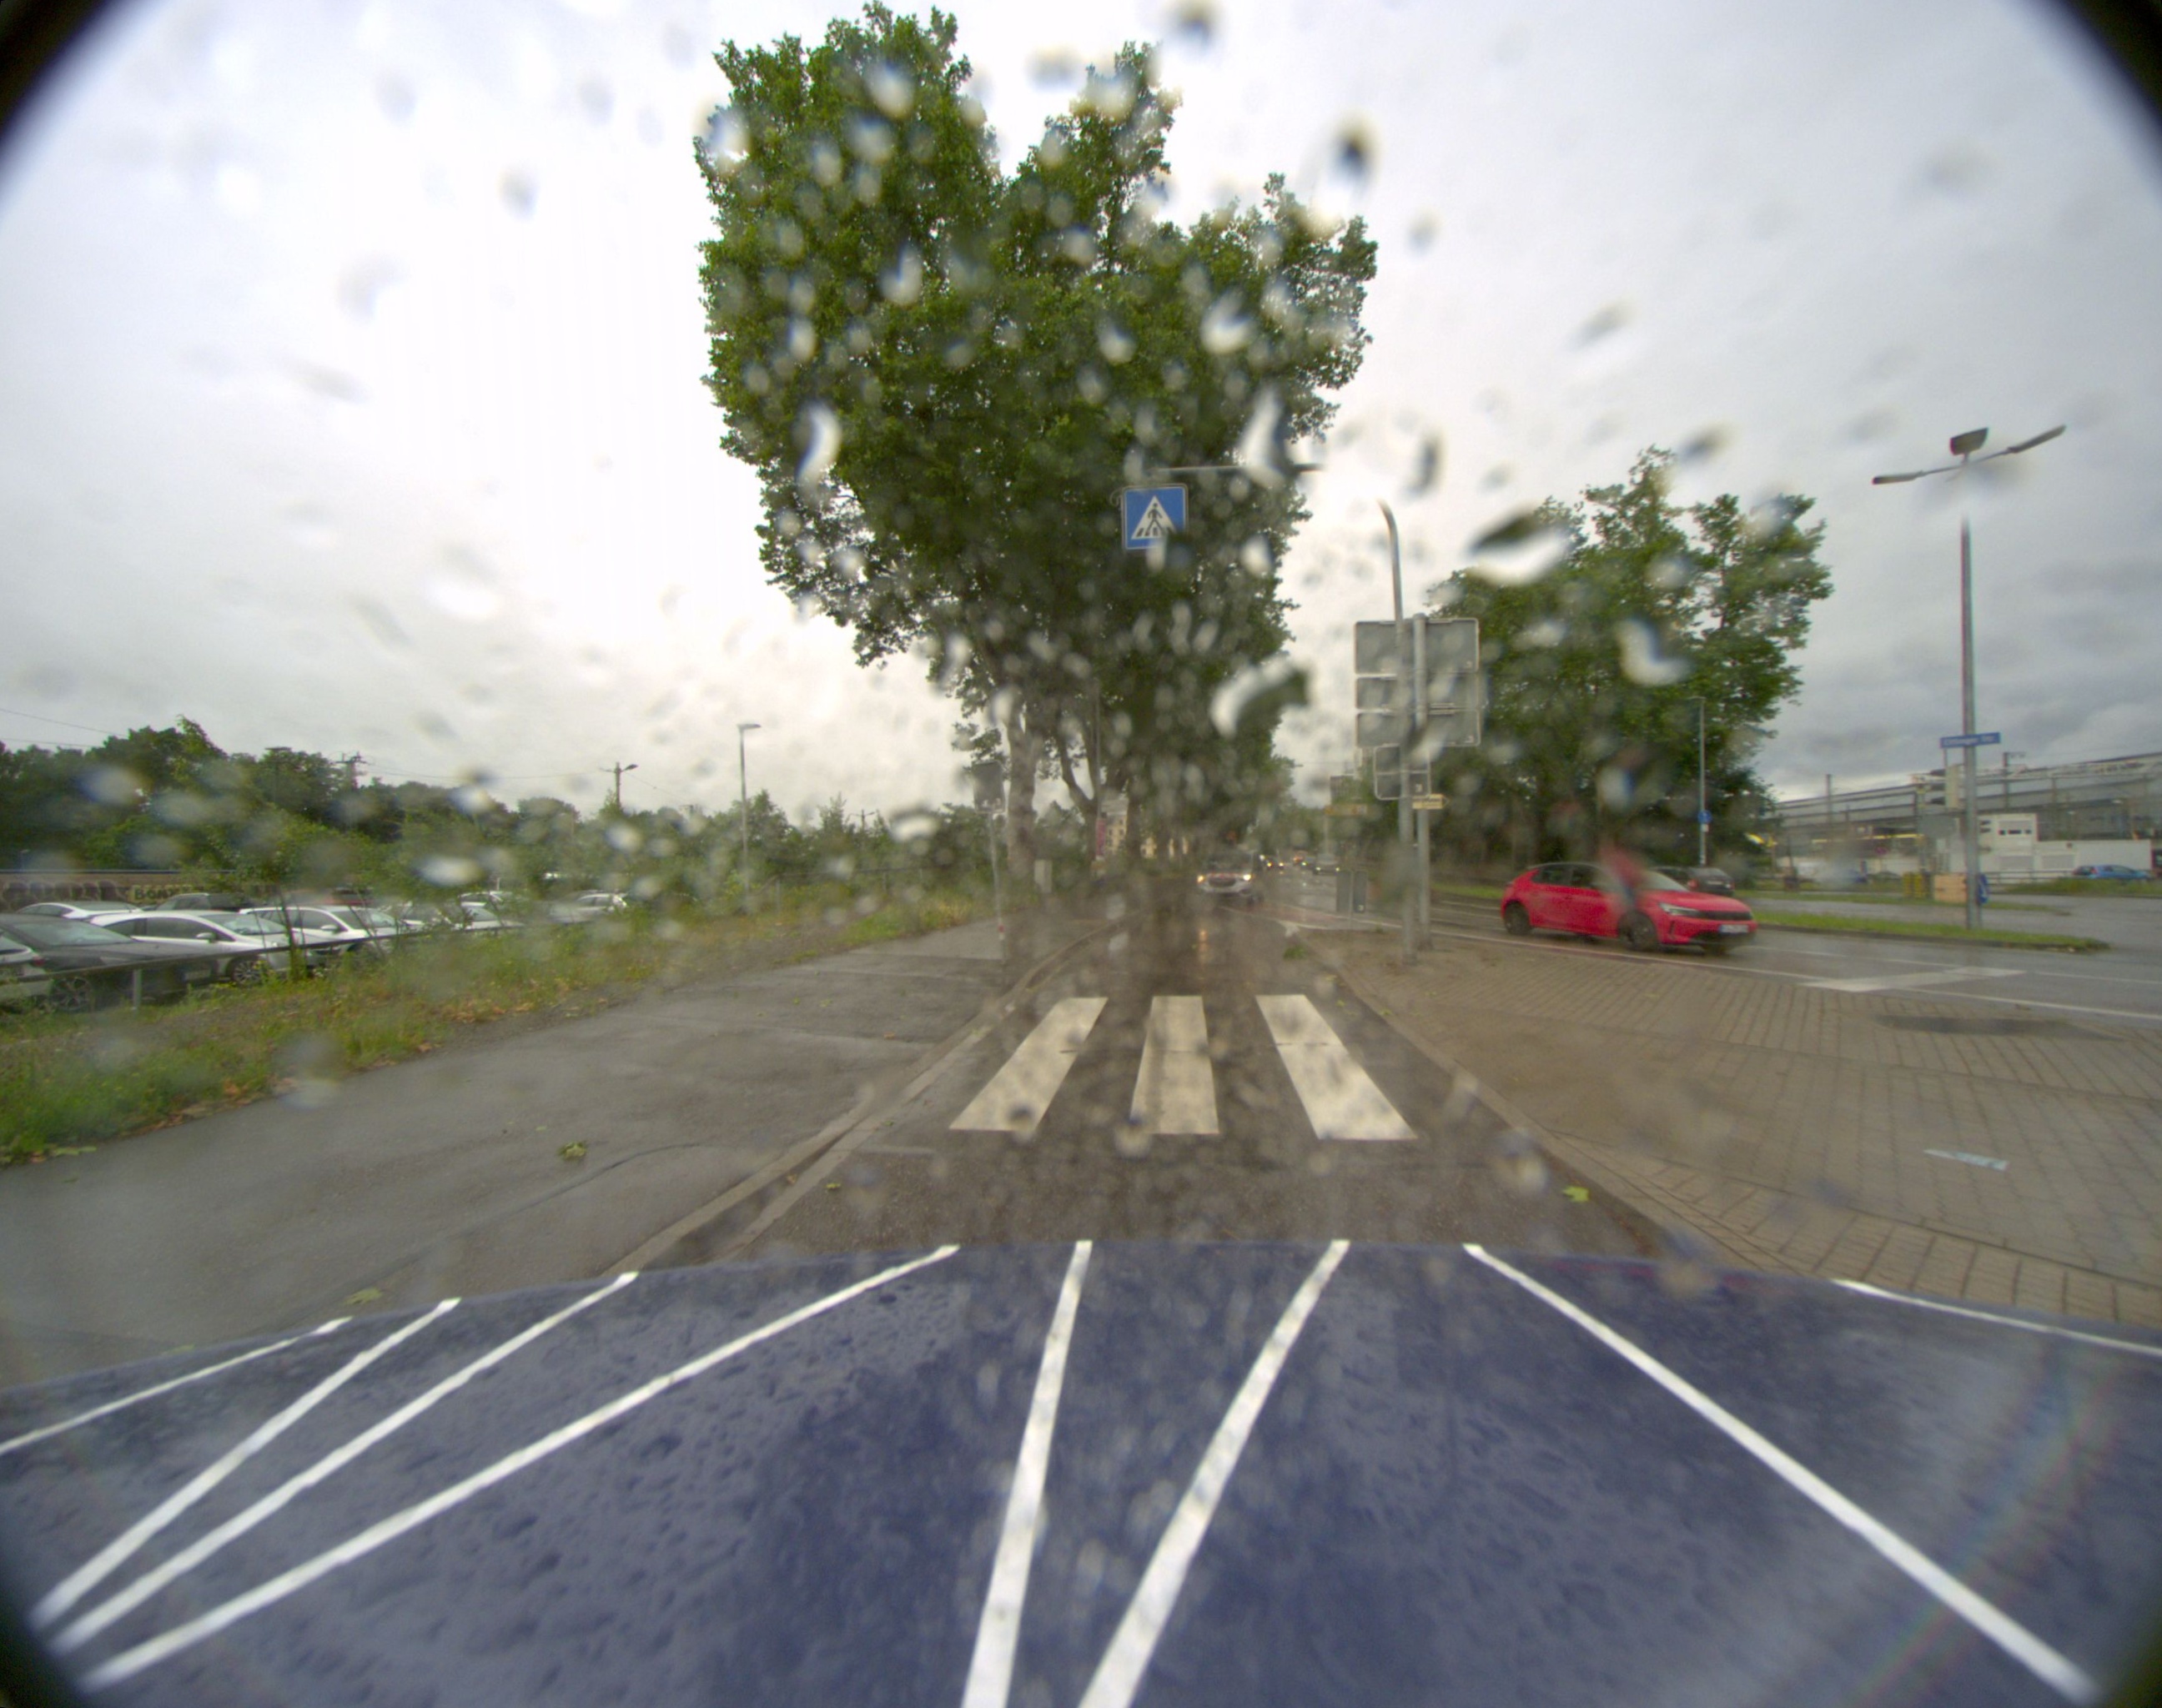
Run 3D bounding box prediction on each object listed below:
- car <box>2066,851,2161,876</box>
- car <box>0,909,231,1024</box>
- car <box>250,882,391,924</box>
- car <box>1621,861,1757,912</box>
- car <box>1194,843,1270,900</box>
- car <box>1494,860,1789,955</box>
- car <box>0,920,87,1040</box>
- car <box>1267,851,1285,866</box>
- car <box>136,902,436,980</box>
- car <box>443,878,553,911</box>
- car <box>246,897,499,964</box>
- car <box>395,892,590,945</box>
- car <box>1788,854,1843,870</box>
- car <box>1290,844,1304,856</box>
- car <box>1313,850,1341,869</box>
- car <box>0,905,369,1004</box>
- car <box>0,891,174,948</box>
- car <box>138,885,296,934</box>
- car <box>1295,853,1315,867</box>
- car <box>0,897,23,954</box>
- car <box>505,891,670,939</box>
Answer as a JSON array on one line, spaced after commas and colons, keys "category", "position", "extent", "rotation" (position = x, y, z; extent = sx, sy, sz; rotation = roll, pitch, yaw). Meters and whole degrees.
[{"category": "car", "position": [70.729, 0.664, 51.864], "extent": [3.992, 1.599, 1.789], "rotation": [-1, 0, 15]}, {"category": "car", "position": [-17.083, 1.774, 12.026], "extent": [4.548, 1.550, 1.874], "rotation": [-1, 0, -13]}, {"category": "car", "position": [-27.322, 1.733, 27.330], "extent": [3.992, 1.367, 1.820], "rotation": [-1, 0, 16]}, {"category": "car", "position": [21.708, 1.099, 27.364], "extent": [1.997, 1.632, 4.002], "rotation": [-1, 0, 6]}, {"category": "car", "position": [5.086, 0.524, 25.141], "extent": [1.835, 1.714, 4.178], "rotation": [-1, 0, 20]}, {"category": "car", "position": [9.386, 0.802, 13.191], "extent": [1.745, 1.373, 3.996], "rotation": [0, 0, -11]}, {"category": "car", "position": [-16.435, 1.724, 9.536], "extent": [4.648, 1.475, 1.874], "rotation": [-1, 0, -13]}, {"category": "car", "position": [19.907, 0.467, 77.788], "extent": [1.741, 1.437, 4.005], "rotation": [0, 0, 14]}, {"category": "car", "position": [-18.346, 1.966, 17.780], "extent": [4.547, 1.457, 2.002], "rotation": [-1, 0, -8]}, {"category": "car", "position": [-25.811, 1.783, 33.677], "extent": [3.992, 1.367, 1.820], "rotation": [-1, 0, 16]}, {"category": "car", "position": [-18.561, 1.973, 20.166], "extent": [4.548, 1.421, 1.874], "rotation": [-1, 0, -13]}, {"category": "car", "position": [-18.300, 1.999, 23.805], "extent": [4.544, 1.421, 1.875], "rotation": [-1, 0, -3]}, {"category": "car", "position": [80.796, 0.895, 83.634], "extent": [3.993, 1.599, 1.789], "rotation": [-1, 0, 13]}, {"category": "car", "position": [29.954, -0.504, 105.461], "extent": [1.851, 1.593, 4.505], "rotation": [0, 0, 14]}, {"category": "car", "position": [19.087, 0.418, 59.082], "extent": [1.742, 1.373, 4.004], "rotation": [0, 0, 12]}, {"category": "car", "position": [-17.547, 1.913, 15.142], "extent": [4.548, 1.550, 1.874], "rotation": [-1, 0, -13]}, {"category": "car", "position": [-28.484, 1.820, 21.698], "extent": [3.992, 1.429, 1.820], "rotation": [-1, 0, 16]}, {"category": "car", "position": [-28.133, 1.784, 24.764], "extent": [3.992, 1.429, 1.820], "rotation": [-1, 0, 16]}, {"category": "car", "position": [22.194, 0.598, 75.243], "extent": [1.642, 1.346, 3.779], "rotation": [-1, 0, 12]}, {"category": "car", "position": [-29.310, 1.838, 19.134], "extent": [3.992, 1.429, 1.820], "rotation": [-1, 0, 16]}, {"category": "car", "position": [-16.969, 2.084, 26.294], "extent": [4.394, 1.421, 1.875], "rotation": [-1, 0, -3]}]
